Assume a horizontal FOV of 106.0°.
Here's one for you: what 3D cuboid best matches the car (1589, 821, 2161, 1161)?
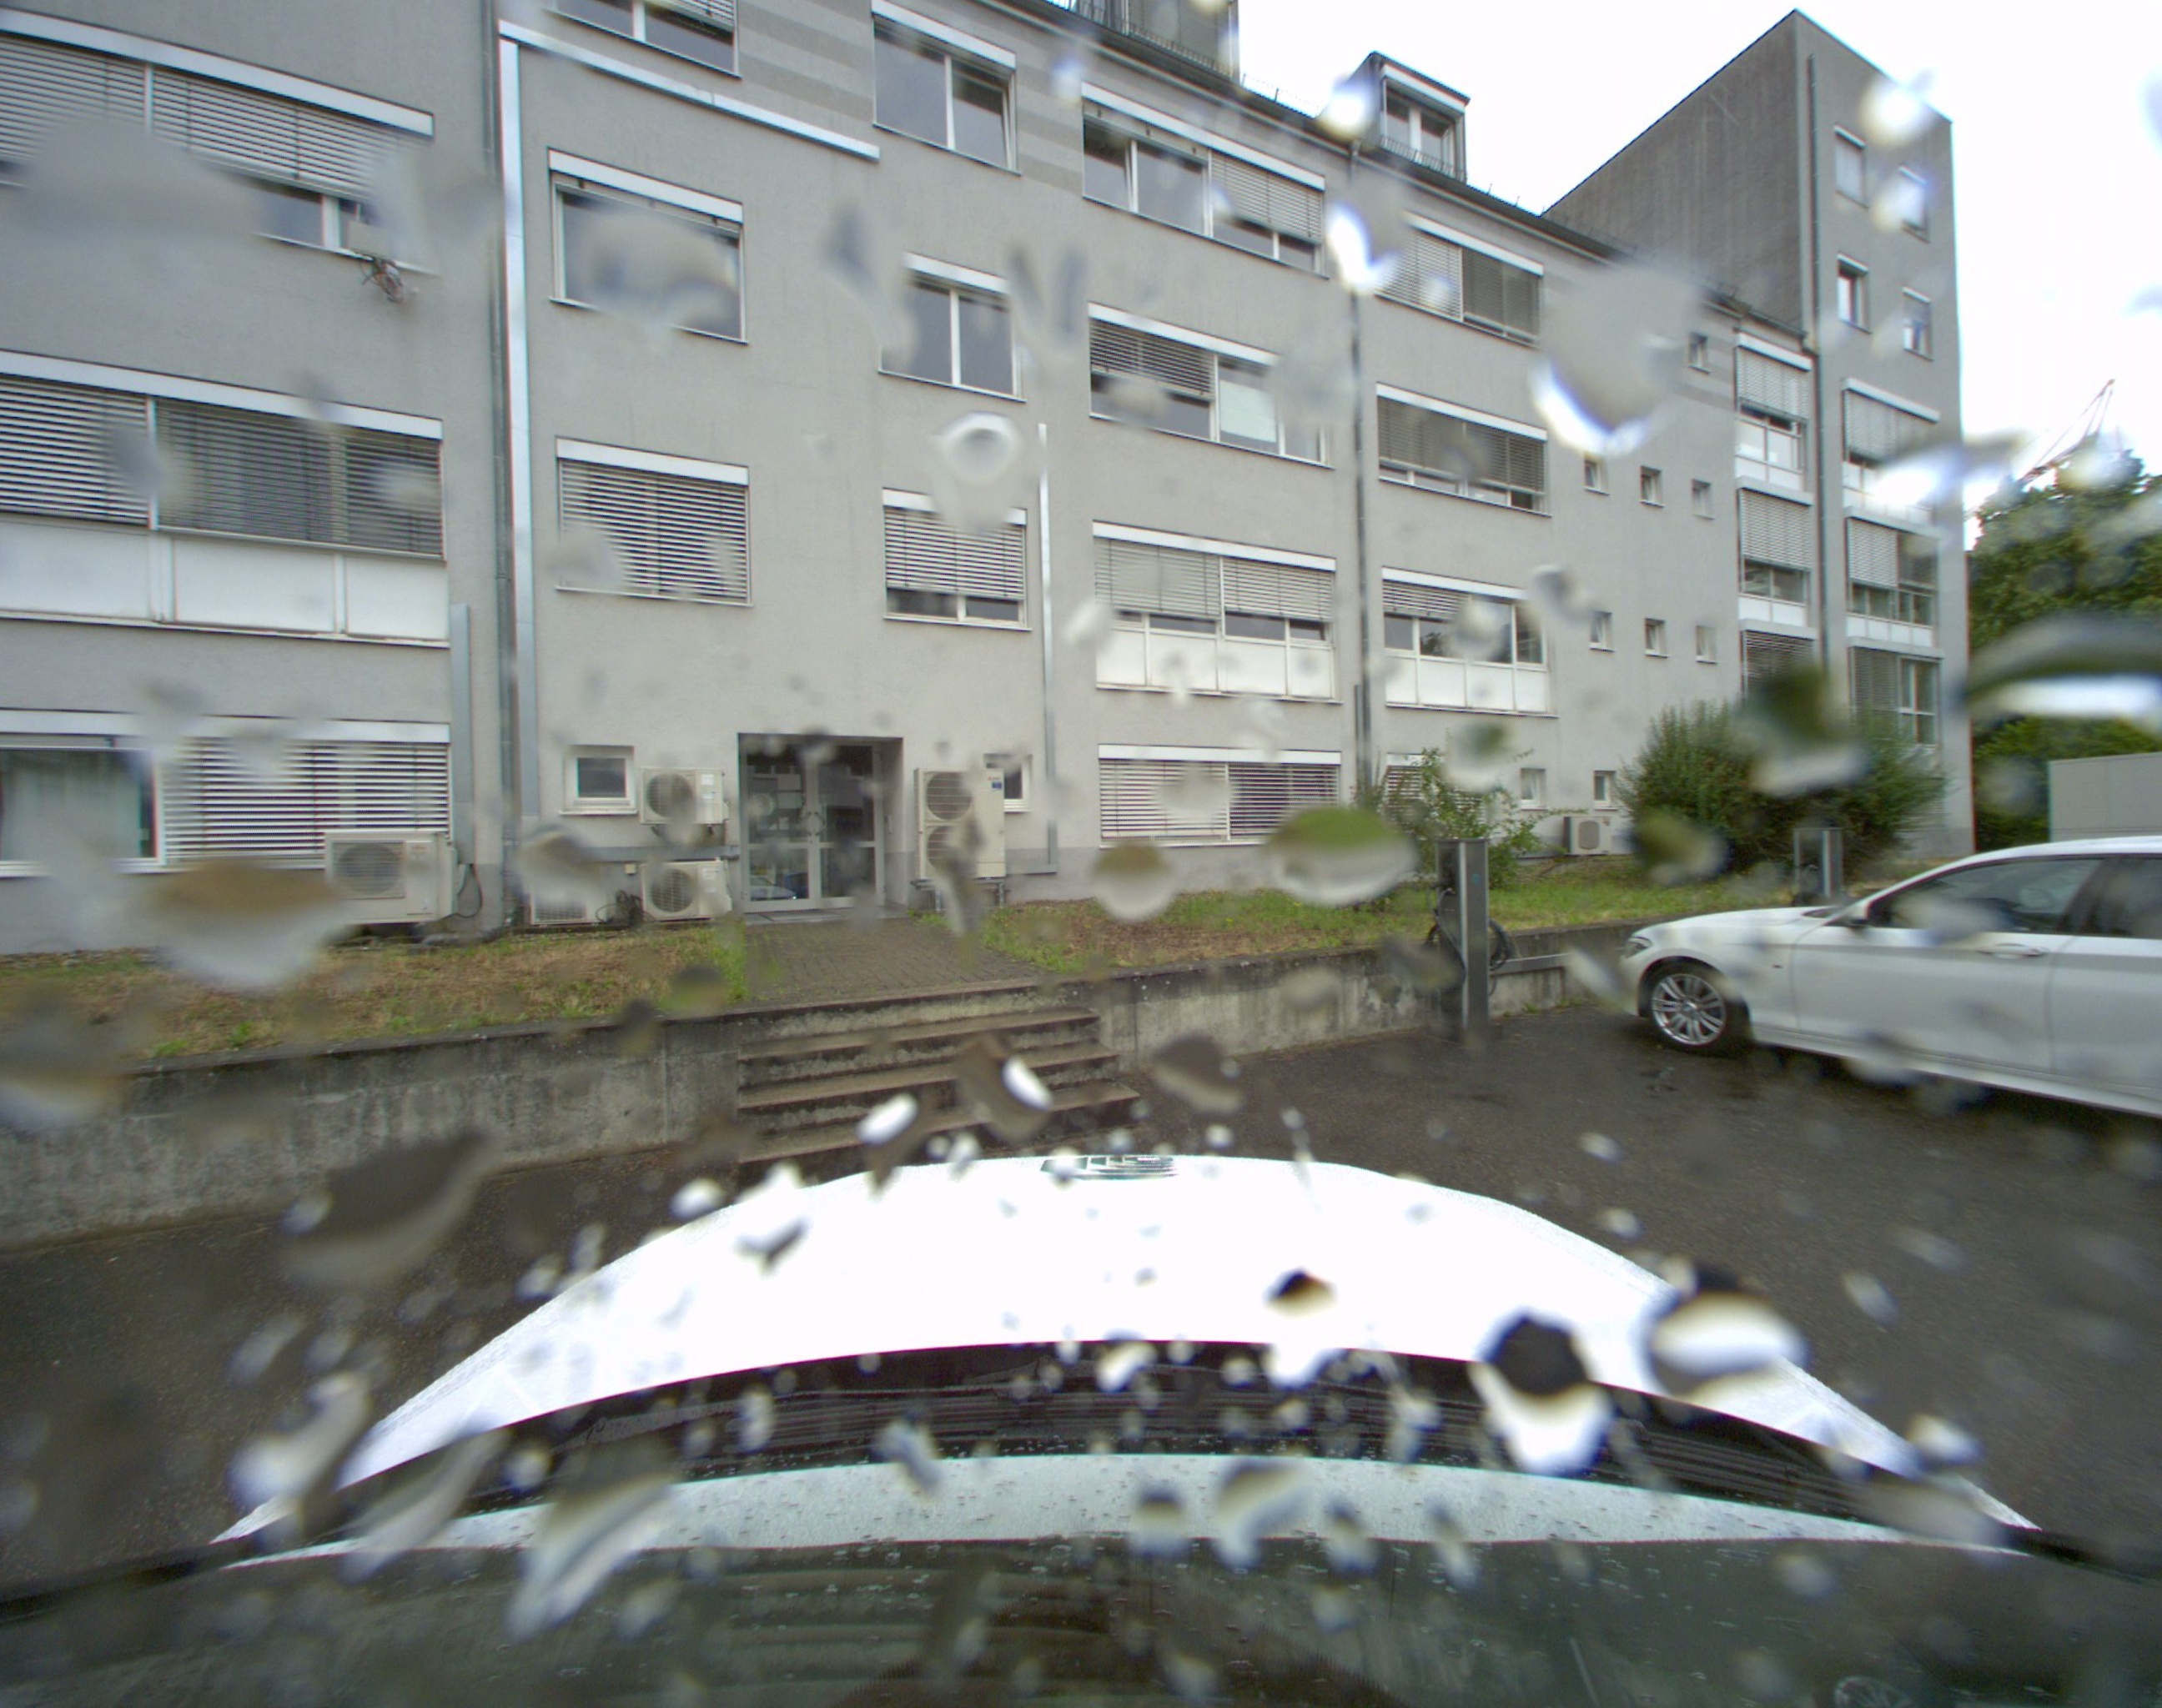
[{"bbox_3d":[5.458,0.592,4.459,2.001,1.489,4.191,-1,0,-21],"label":"car"}]

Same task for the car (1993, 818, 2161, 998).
[{"bbox_3d":[10.279,0.423,6.081,2.001,1.489,4.191,-1,0,-21],"label":"car"}]
